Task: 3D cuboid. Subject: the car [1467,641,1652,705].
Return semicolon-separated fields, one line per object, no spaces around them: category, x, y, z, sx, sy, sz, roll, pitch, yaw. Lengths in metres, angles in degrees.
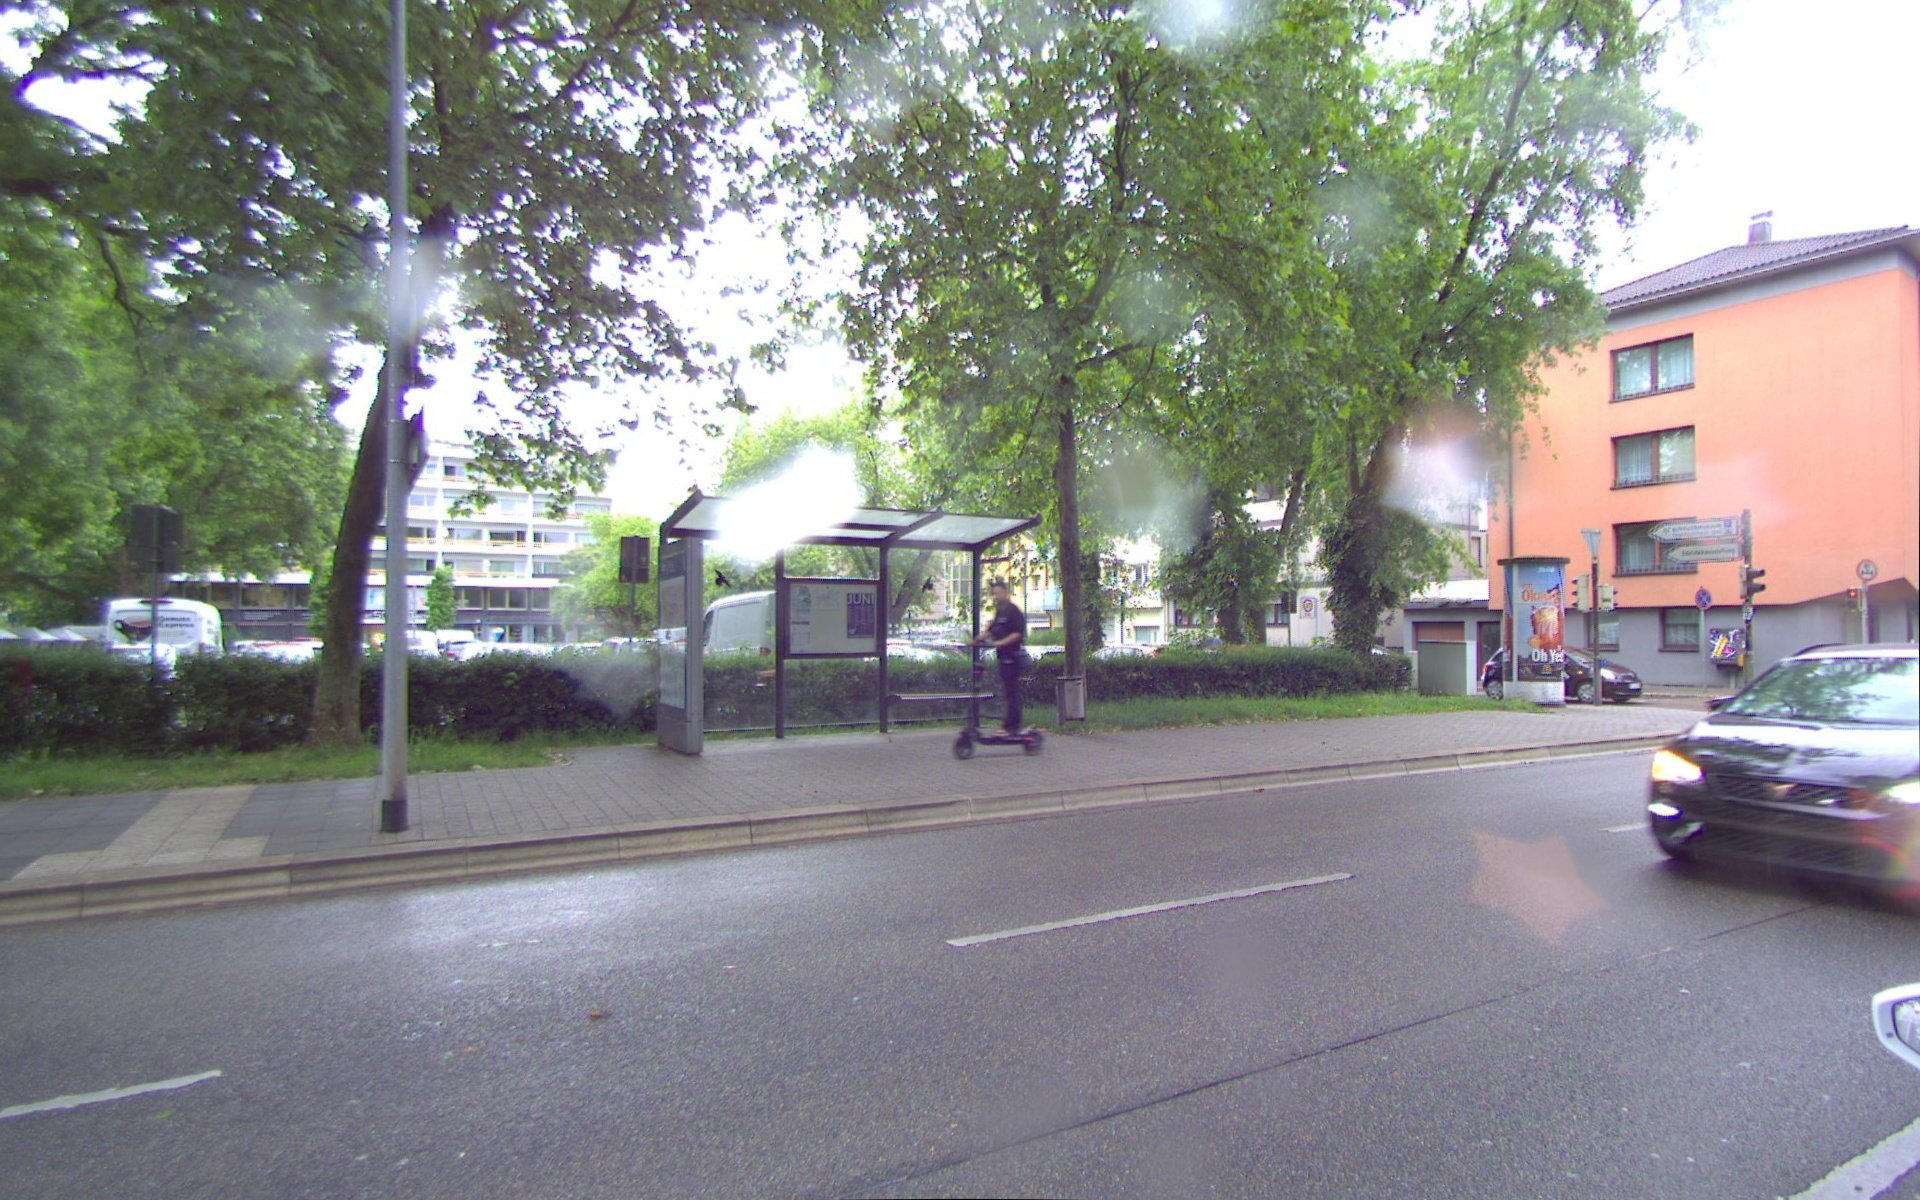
car;15.808;1.881;26.683;1.780;1.553;3.837;1;-3;-30

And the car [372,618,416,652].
car;-32.736;2.000;58.023;2.075;1.745;3.966;2;0;-31

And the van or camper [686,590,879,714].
van or camper;-3.393;0.907;18.421;1.978;1.975;4.572;1;-2;-31

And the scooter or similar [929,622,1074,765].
scooter or similar;0.463;0.986;11.106;1.382;1.465;0.810;1;0;-31

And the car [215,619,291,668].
car;-25.070;1.510;35.734;1.876;1.506;3.966;2;0;-31

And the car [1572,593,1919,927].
car;6.101;0.857;6.652;4.091;1.646;1.836;1;-3;-32

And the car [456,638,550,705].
car;-12.530;1.887;27.405;1.876;1.506;3.966;2;0;-31

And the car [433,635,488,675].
car;-22.454;2.428;45.047;1.876;1.506;3.966;2;0;-31

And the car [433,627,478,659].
car;-27.313;2.283;54.301;1.876;1.506;3.966;2;0;-31

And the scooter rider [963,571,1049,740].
scooter rider;0.505;0.608;11.126;0.637;1.789;0.730;2;-2;-29

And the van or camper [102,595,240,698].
van or camper;-20.640;1.203;26.483;2.073;2.463;4.310;1;-2;-28

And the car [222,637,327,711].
car;-16.874;1.756;24.896;1.876;1.506;3.966;2;0;-31

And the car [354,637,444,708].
car;-14.624;1.824;26.113;1.876;1.506;3.966;2;0;-31
